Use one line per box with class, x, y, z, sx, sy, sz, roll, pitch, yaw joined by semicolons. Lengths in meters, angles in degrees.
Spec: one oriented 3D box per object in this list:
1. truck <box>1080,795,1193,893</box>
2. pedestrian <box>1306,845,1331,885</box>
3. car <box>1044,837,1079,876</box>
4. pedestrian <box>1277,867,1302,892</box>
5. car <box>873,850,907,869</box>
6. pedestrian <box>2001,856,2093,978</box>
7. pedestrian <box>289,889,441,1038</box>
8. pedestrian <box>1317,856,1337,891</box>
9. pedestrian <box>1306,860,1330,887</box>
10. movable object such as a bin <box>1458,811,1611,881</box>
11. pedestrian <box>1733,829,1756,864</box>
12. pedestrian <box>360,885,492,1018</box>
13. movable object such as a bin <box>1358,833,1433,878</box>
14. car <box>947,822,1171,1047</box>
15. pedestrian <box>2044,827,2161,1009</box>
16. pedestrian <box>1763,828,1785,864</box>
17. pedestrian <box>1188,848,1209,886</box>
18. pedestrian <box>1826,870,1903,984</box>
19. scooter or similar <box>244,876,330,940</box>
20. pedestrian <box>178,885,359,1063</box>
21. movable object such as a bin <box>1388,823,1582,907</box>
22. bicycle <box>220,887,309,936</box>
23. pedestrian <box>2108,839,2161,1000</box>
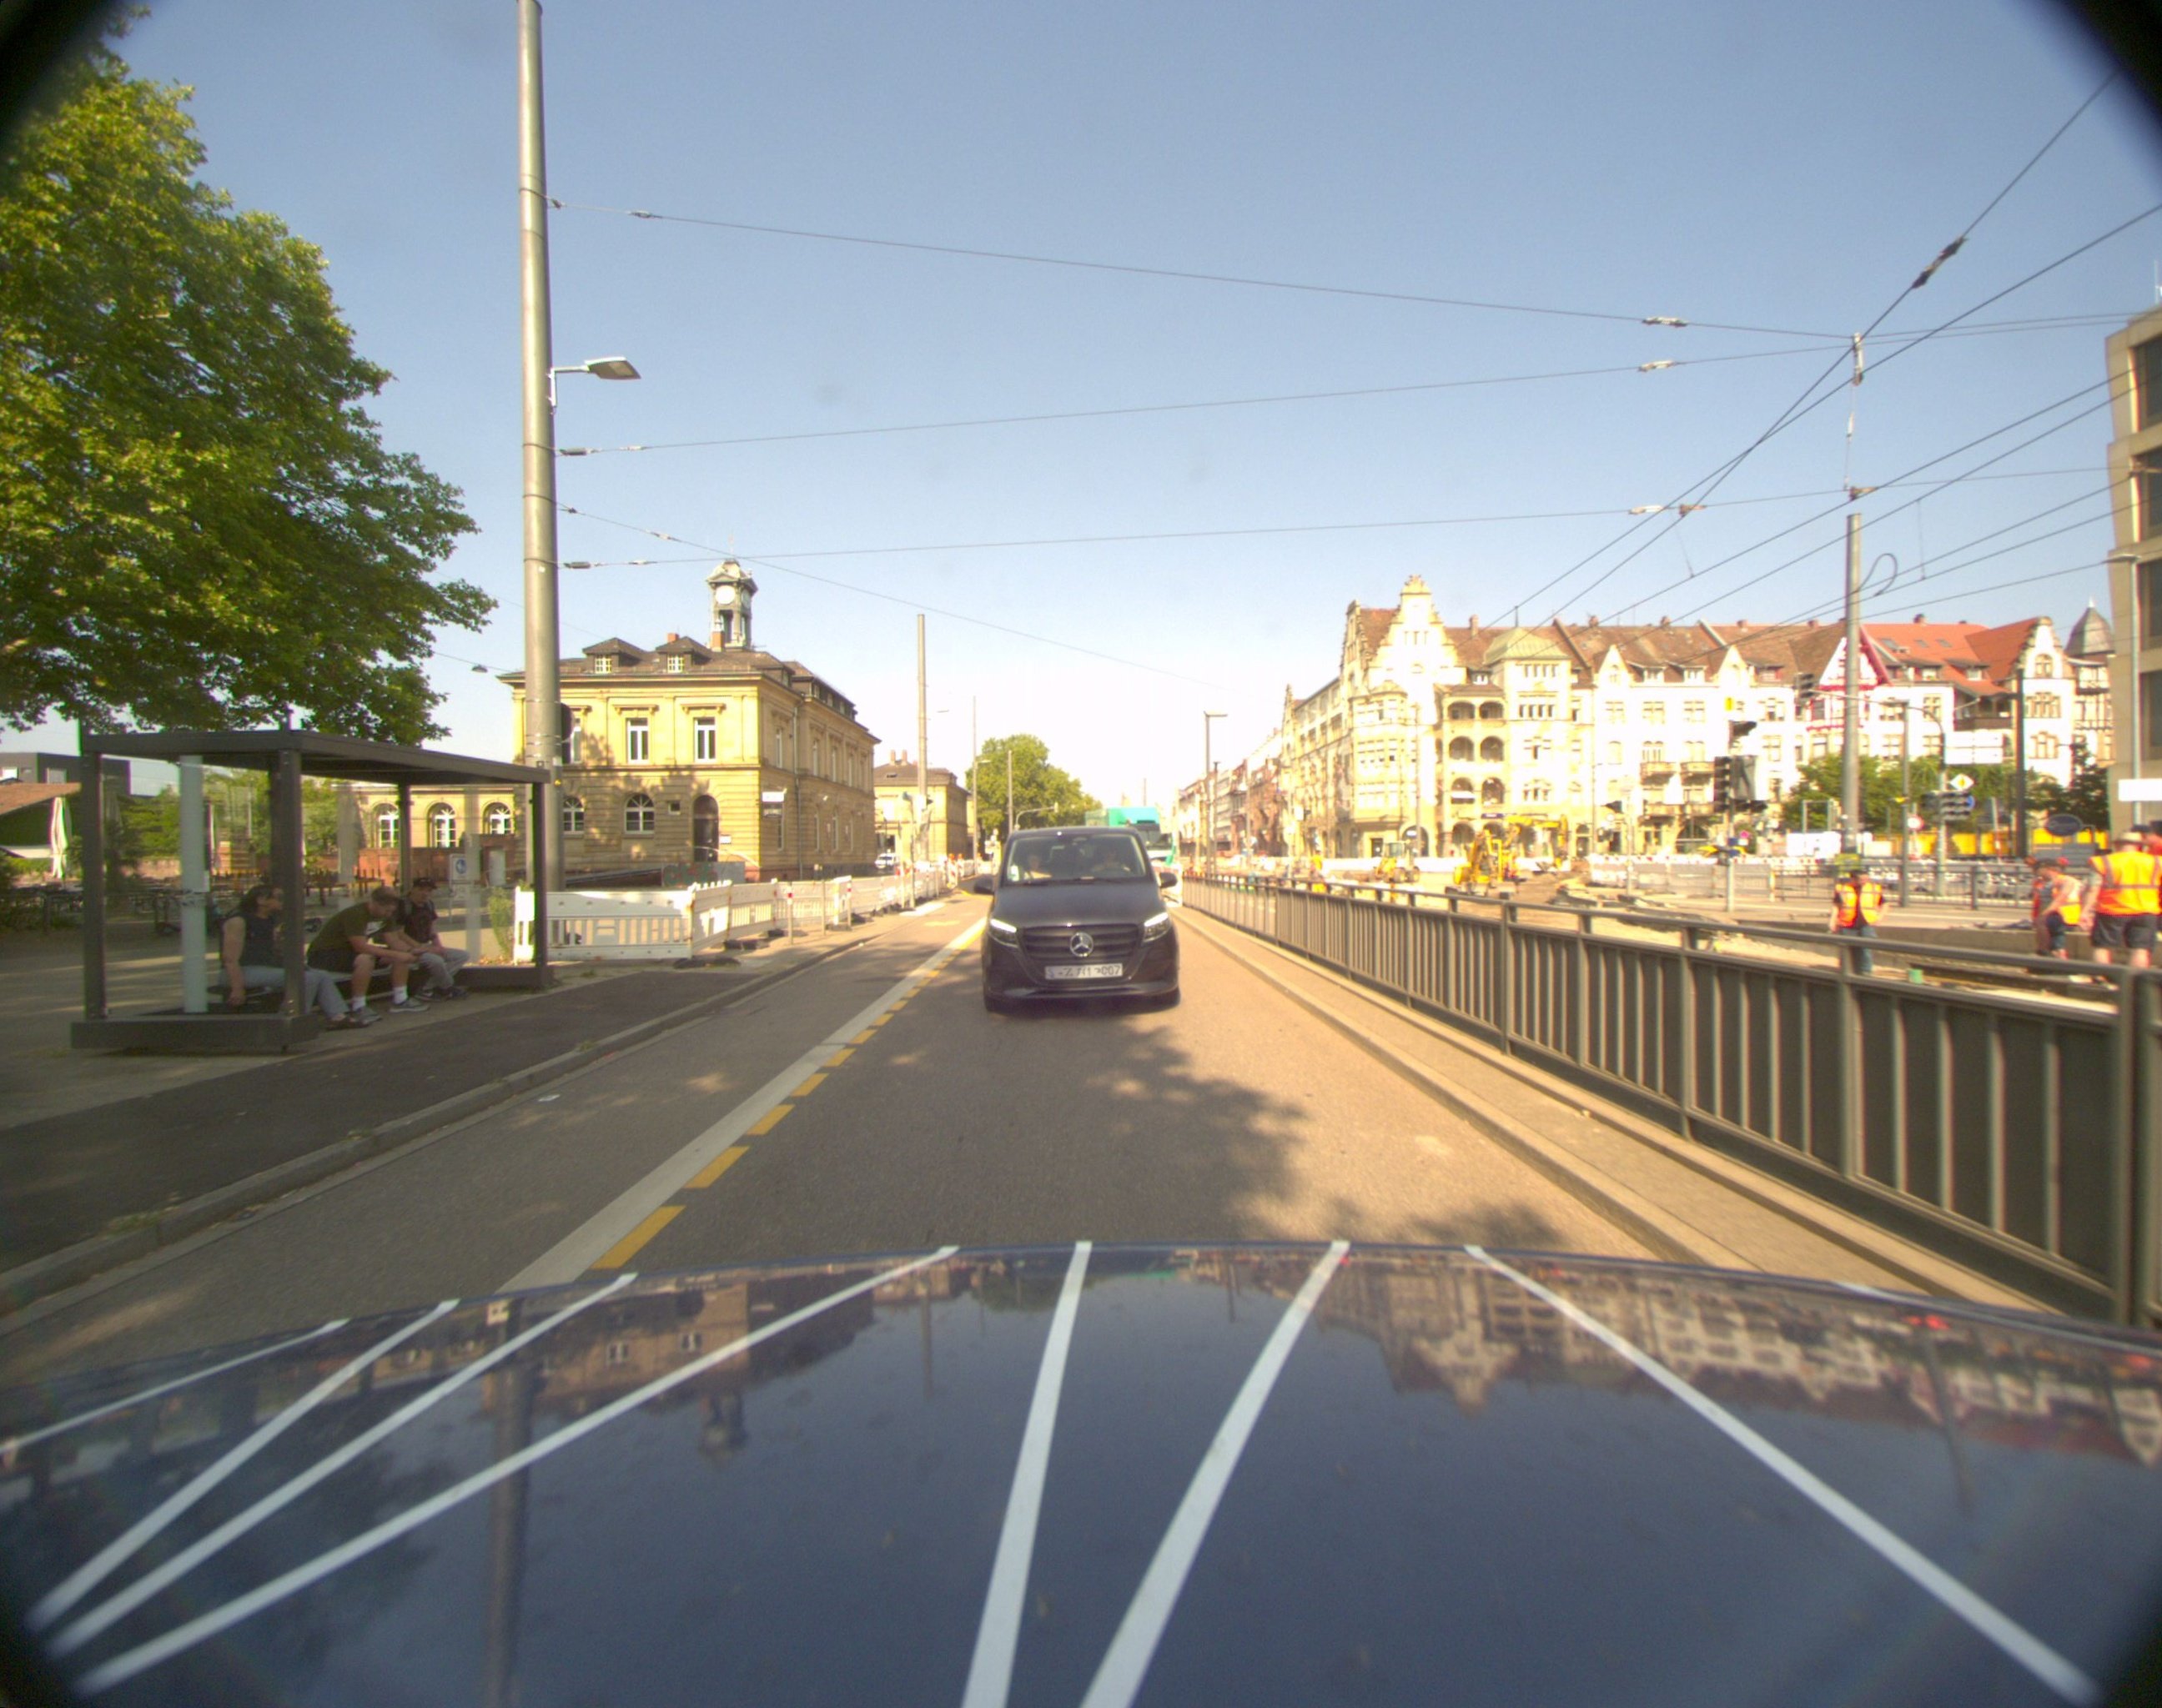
truck;2.255;-0.384;34.770;2.802;3.889;8.409;-2;0;-12
pedestrian;9.433;0.433;30.240;0.818;1.557;0.557;0;0;-1
car;-1.359;0.116;51.431;2.213;2.410;7.197;0;1;-2
pedestrian;7.782;0.933;28.366;0.820;0.920;0.513;0;0;24
car;-19.108;0.553;76.340;1.907;1.772;4.227;1;0;7
pedestrian;12.810;0.805;10.080;0.642;1.545;0.625;0;0;-26
pedestrian;-6.555;0.982;6.986;0.743;1.254;0.611;-2;2;0
pedestrian;11.107;0.886;34.307;0.703;1.557;0.555;0;0;-31
pedestrian;9.008;0.730;28.889;0.512;0.982;0.934;0;0;-11
movable object such as a bin;29.212;-0.551;49.535;7.368;4.323;4.973;0;2;13
pedestrian;38.515;-0.438;44.114;0.900;2.053;0.668;-1;1;-23
pedestrian;-6.680;0.969;7.780;0.743;1.254;0.611;-2;2;0
movable object such as a bin;20.702;0.066;49.940;4.825;2.818;2.442;-1;1;-37
car;-0.096;0.674;8.622;1.853;1.875;4.179;-2;1;3
pedestrian;11.602;0.686;8.481;0.724;1.939;0.789;0;0;15
pedestrian;39.226;-0.448;43.012;0.668;2.002;0.829;0;1;24
pedestrian;4.911;0.552;31.848;0.762;1.557;0.691;0;0;0
pedestrian;11.954;1.077;11.613;0.667;1.653;0.773;0;0;34
scooter or similar;-16.236;1.086;15.566;0.426;1.221;1.174;0;0;7
pedestrian;-6.715;0.966;6.316;0.752;1.358;0.611;-2;2;0
movable object such as a bin;16.370;0.323;31.775;3.622;2.941;8.474;-2;1;0
bicycle;-17.588;1.216;16.414;0.493;0.993;1.815;-1;-2;-19
pedestrian;12.408;0.738;8.746;0.627;1.805;0.639;0;0;-32
